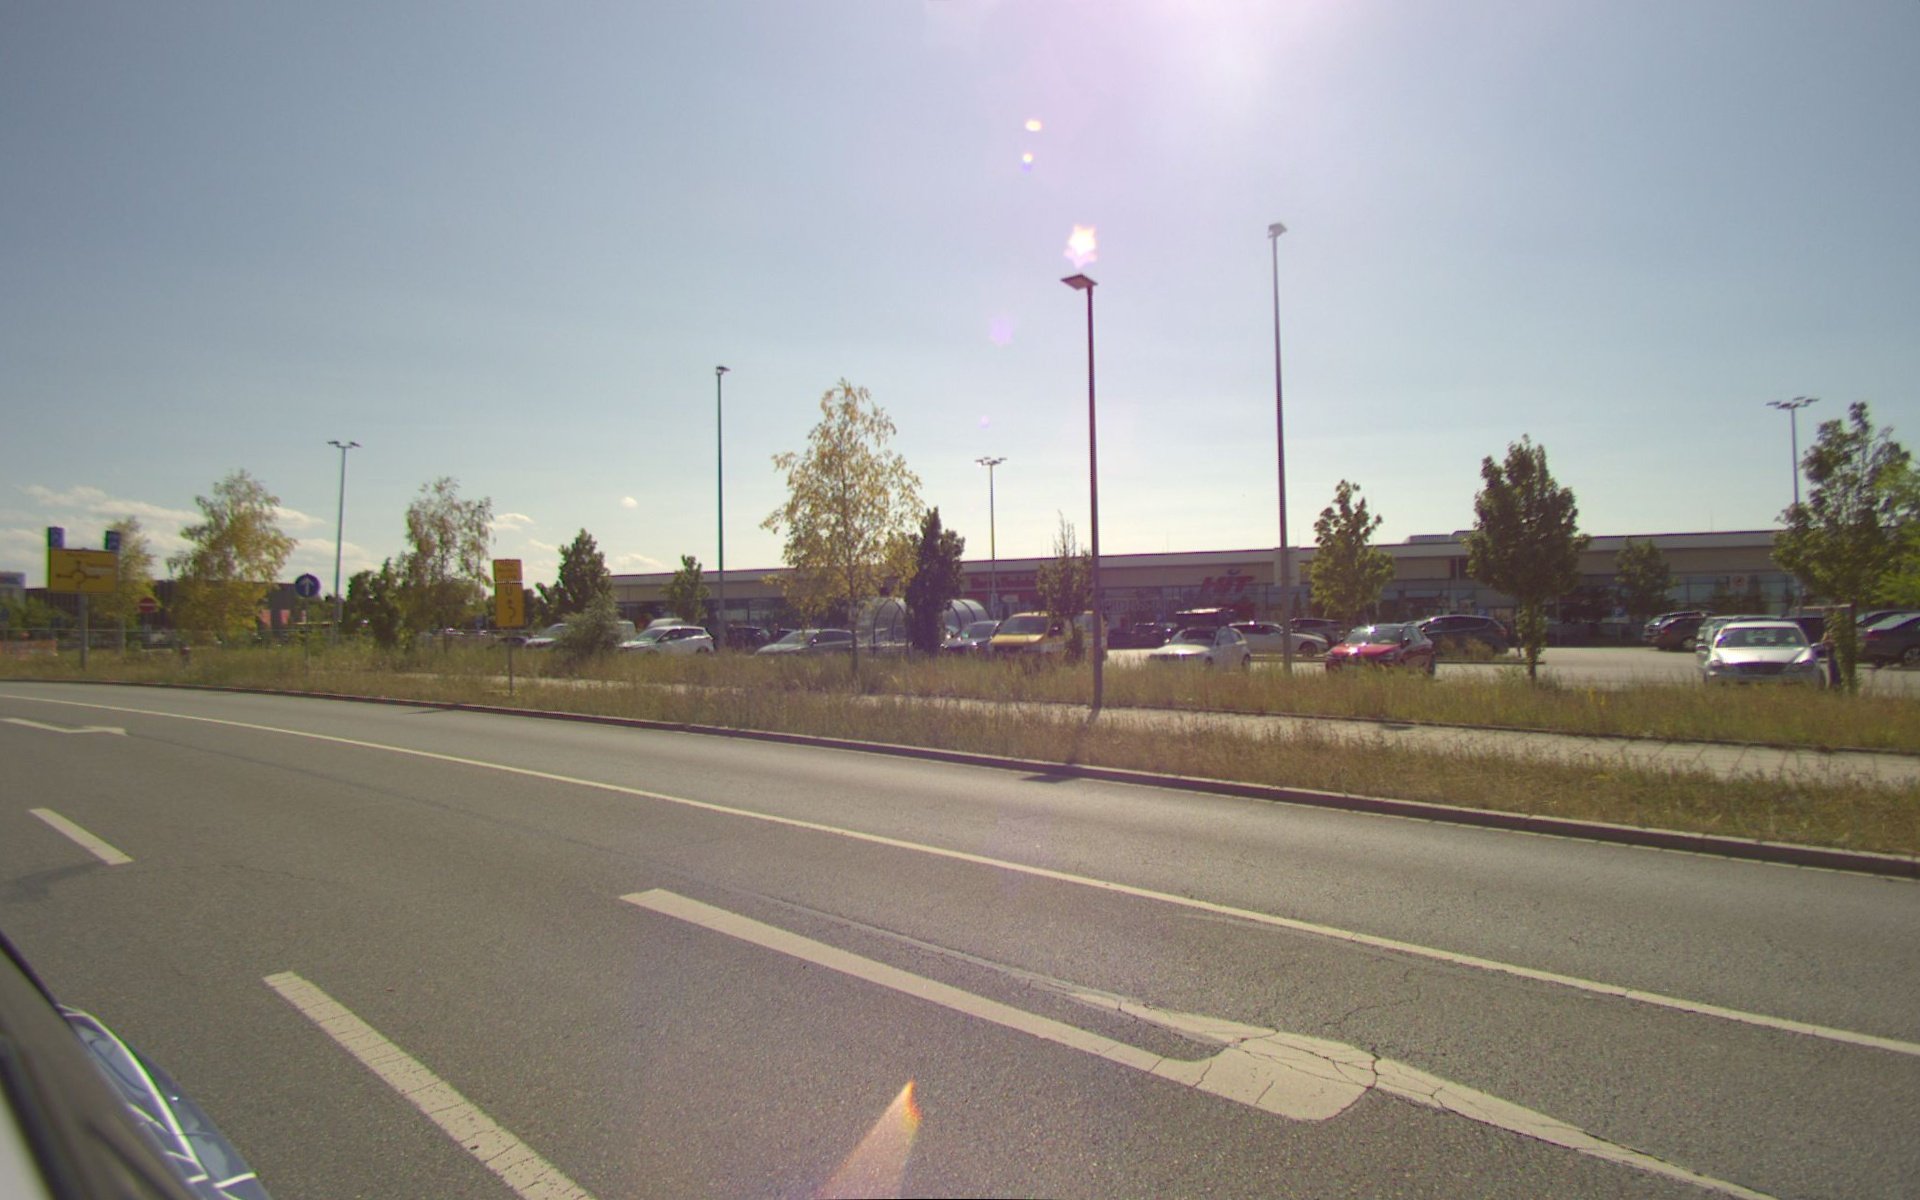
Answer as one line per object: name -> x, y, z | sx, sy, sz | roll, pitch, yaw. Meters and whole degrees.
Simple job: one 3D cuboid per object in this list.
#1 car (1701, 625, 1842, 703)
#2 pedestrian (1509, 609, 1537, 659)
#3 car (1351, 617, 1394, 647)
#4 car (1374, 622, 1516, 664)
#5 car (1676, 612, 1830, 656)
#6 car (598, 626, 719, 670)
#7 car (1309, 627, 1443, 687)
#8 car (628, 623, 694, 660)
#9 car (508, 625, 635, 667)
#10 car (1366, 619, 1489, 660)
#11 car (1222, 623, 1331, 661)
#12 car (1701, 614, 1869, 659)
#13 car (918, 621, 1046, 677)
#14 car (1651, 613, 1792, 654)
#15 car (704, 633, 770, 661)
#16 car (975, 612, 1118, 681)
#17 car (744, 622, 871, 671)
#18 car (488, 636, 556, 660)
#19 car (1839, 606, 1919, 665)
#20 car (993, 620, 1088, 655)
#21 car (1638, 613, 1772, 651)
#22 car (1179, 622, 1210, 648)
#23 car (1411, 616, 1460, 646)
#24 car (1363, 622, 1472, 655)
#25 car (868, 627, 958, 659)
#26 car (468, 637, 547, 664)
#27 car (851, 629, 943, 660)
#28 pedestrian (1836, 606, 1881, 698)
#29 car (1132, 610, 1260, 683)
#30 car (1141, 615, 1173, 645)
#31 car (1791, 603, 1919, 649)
car -> 15.897, 1.177, 19.825 | 1.935, 1.358, 4.102 | -2, -3, 40
pedestrian -> 20.865, 1.257, 37.501 | 0.776, 1.838, 0.566 | -1, -2, 21
car -> 24.294, 1.888, 59.698 | 1.701, 1.638, 4.334 | -1, -2, 14
car -> 17.079, 1.529, 35.899 | 4.321, 1.428, 1.706 | -1, -2, 20
car -> 30.781, 1.336, 39.435 | 4.321, 1.627, 1.706 | -1, -2, 20
car -> -12.160, 1.912, 41.077 | 1.993, 1.685, 4.554 | -2, -2, 32
car -> 10.416, 1.358, 25.171 | 1.935, 1.358, 4.102 | -2, -3, 40
car -> -22.446, 3.093, 76.136 | 1.924, 2.607, 5.685 | -1, -2, 17
car -> -16.671, 1.945, 43.721 | 1.990, 1.685, 5.150 | -2, -2, 26
car -> 18.916, 1.602, 41.150 | 4.321, 1.584, 1.706 | -1, -2, 20
car -> 13.494, 1.785, 43.141 | 4.325, 1.538, 1.704 | -1, -2, 22
car -> 29.793, 1.336, 36.712 | 4.321, 1.556, 1.706 | -1, -2, 20
car -> 0.811, 1.535, 32.619 | 1.877, 1.685, 4.728 | -2, -2, 34
car -> 31.548, 1.387, 42.074 | 4.321, 1.614, 1.706 | -1, -2, 20
car -> -12.824, 2.704, 58.436 | 1.831, 1.564, 3.972 | -1, -2, 21
car -> 2.832, 1.410, 31.760 | 1.995, 1.980, 5.634 | -2, -2, 34
car -> -5.491, 1.657, 36.944 | 1.994, 1.685, 4.663 | -2, -2, 33
car -> -32.395, 3.523, 74.870 | 4.542, 1.701, 1.963 | -1, -2, 20
car -> 26.252, 0.917, 26.618 | 4.321, 1.528, 1.706 | -1, -2, 20
car -> 4.122, 1.930, 51.840 | 4.553, 1.754, 1.704 | -2, -2, 23
car -> 32.504, 1.419, 44.308 | 4.321, 1.608, 1.774 | -1, -2, 20
car -> 14.484, 2.127, 62.417 | 1.701, 1.530, 4.334 | -1, -2, 14
car -> 27.463, 1.819, 58.541 | 1.701, 1.646, 4.334 | -1, -2, 14
car -> 20.765, 1.759, 46.142 | 4.321, 1.428, 1.706 | -1, -2, 20
car -> -2.386, 2.160, 51.066 | 4.208, 1.528, 1.705 | -1, -2, 21
car -> -30.170, 3.351, 67.570 | 4.378, 1.701, 2.272 | -1, -2, 15
car -> -3.011, 2.112, 48.436 | 4.110, 1.436, 1.705 | -1, -2, 21
pedestrian -> 17.197, 0.983, 19.386 | 0.578, 1.708, 0.757 | -2, -2, 40
car -> 6.656, 1.266, 28.258 | 1.930, 1.875, 4.104 | -2, -2, 38
car -> 12.619, 1.906, 64.671 | 1.701, 1.821, 4.334 | -1, -2, 14
car -> 39.933, 1.171, 44.912 | 4.321, 1.974, 1.706 | -1, -2, 20
